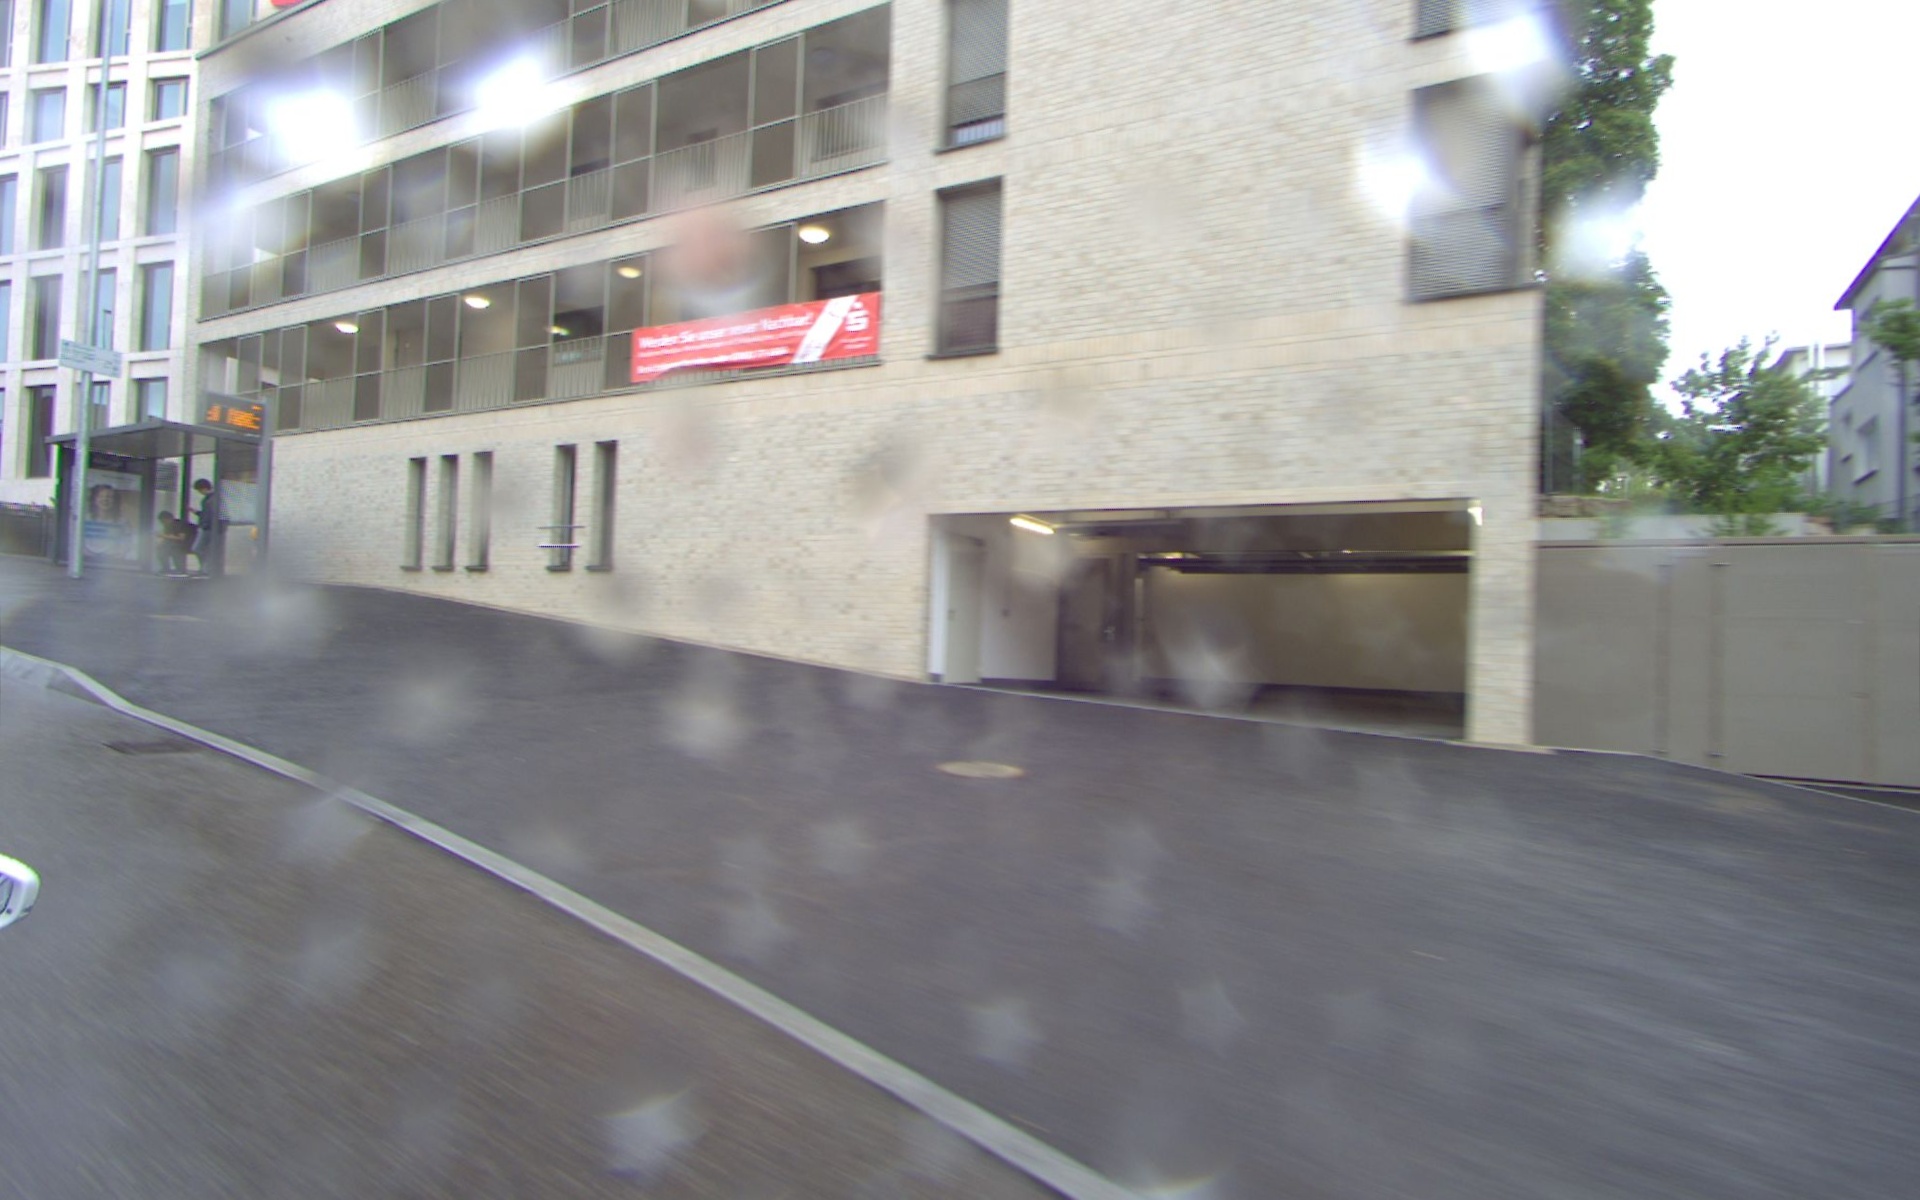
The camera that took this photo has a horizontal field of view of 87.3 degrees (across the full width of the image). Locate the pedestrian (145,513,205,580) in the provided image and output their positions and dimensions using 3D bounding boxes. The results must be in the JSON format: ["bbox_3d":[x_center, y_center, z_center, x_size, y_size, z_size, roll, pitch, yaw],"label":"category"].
[{"bbox_3d":[-14.809,-1.008,18.985,0.624,1.177,0.672,6,2,31],"label":"pedestrian"}]

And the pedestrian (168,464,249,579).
[{"bbox_3d":[-13.655,-1.414,18.275,1.004,1.965,0.782,6,2,32],"label":"pedestrian"}]
